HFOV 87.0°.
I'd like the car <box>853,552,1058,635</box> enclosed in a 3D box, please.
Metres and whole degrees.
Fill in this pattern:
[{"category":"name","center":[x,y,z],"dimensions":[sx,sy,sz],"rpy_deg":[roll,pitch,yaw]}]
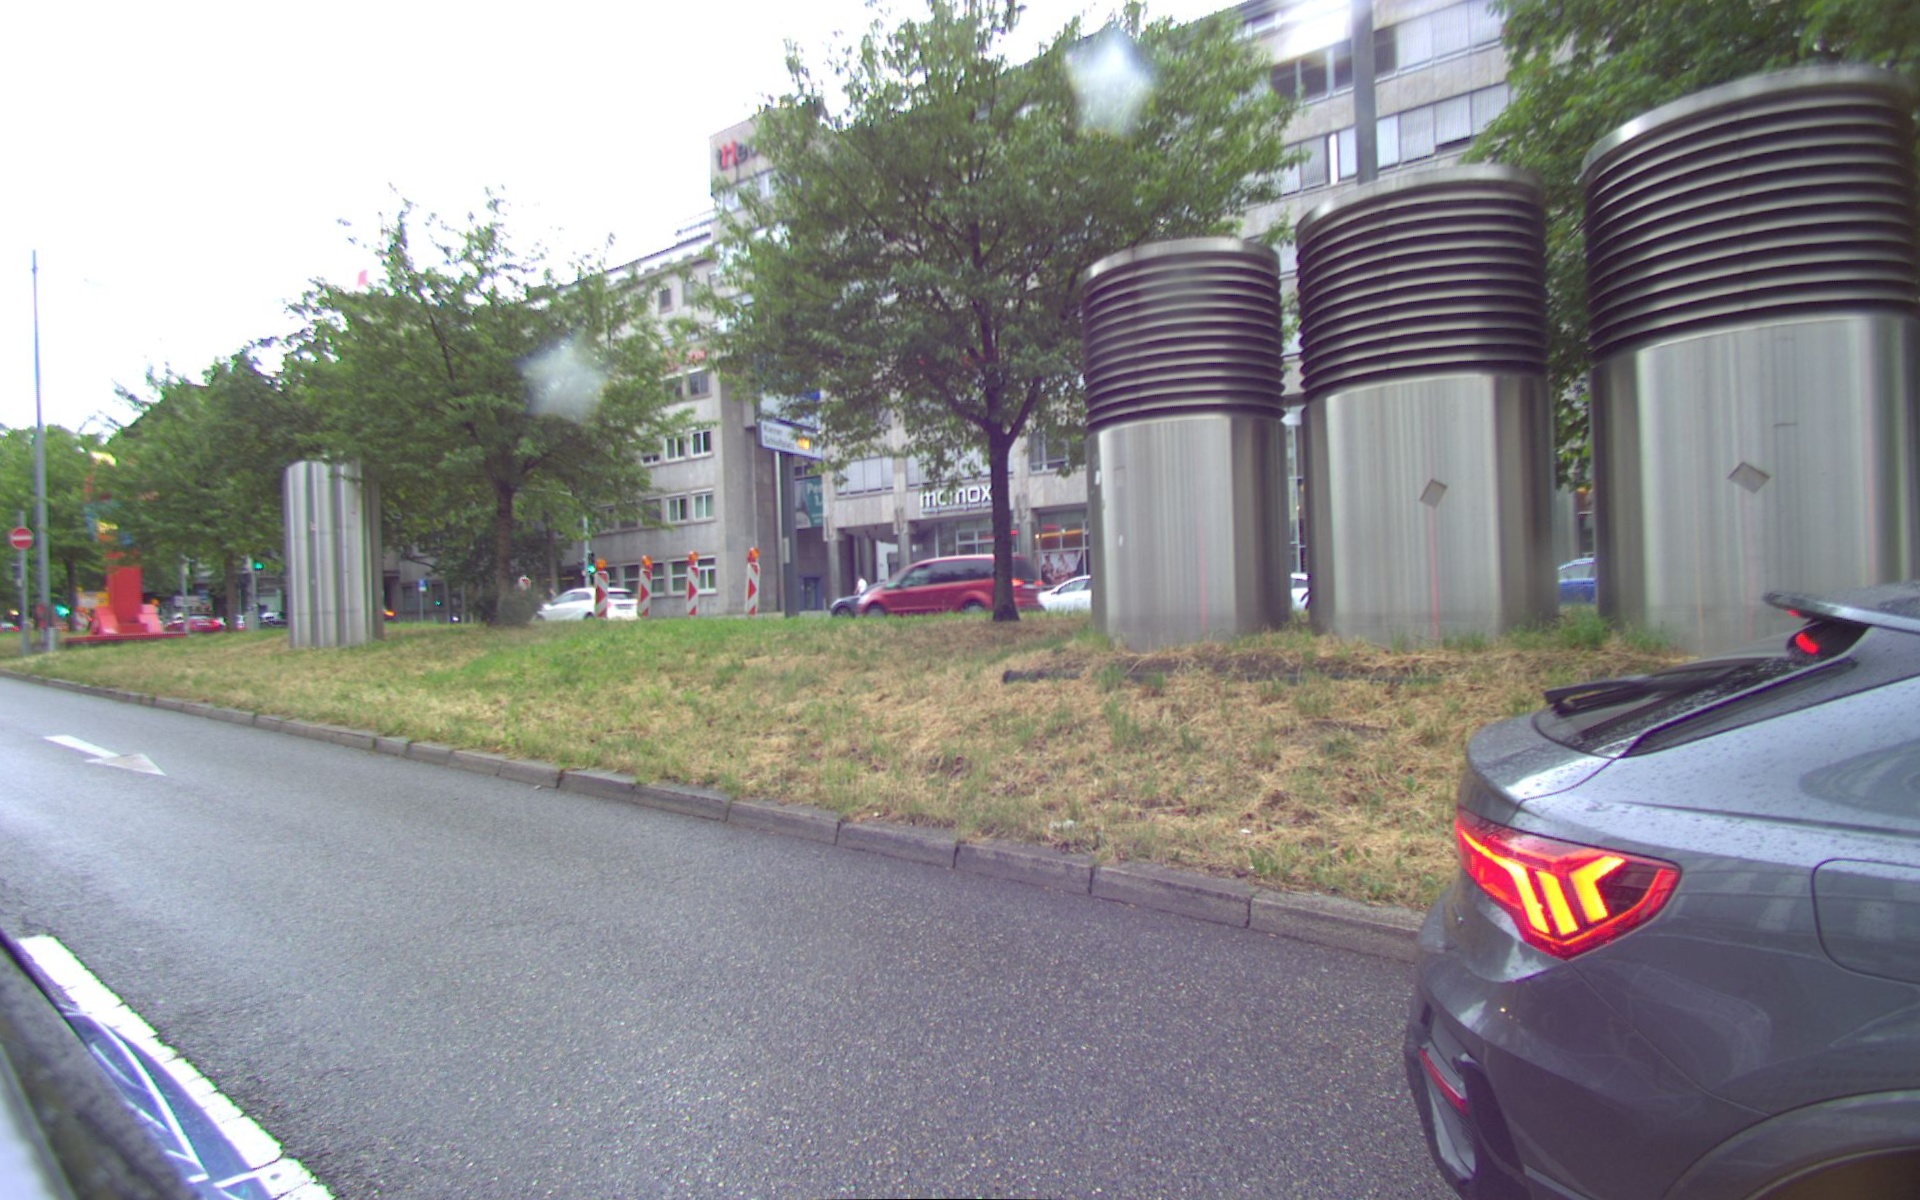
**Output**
[{"category":"car","center":[-0.158,-0.112,23.622],"dimensions":[4.568,1.740,1.711],"rpy_deg":[-2,0,33]}]

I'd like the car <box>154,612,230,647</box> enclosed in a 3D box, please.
[{"category":"car","center":[-40.948,1.570,53.944],"dimensions":[3.987,1.713,1.930],"rpy_deg":[-2,0,33]}]

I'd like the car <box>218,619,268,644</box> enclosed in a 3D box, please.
[{"category":"car","center":[-47.003,2.054,66.331],"dimensions":[3.687,1.514,1.670],"rpy_deg":[-2,-1,38]}]

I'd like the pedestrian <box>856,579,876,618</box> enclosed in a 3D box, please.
[{"category":"pedestrian","center":[-4.480,-0.075,48.273],"dimensions":[0.528,1.801,0.712],"rpy_deg":[-2,0,38]}]

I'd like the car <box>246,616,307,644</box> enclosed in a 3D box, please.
[{"category":"car","center":[-42.895,1.910,63.476],"dimensions":[4.461,1.634,1.844],"rpy_deg":[-2,-1,38]}]

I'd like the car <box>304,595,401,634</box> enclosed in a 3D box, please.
[{"category":"car","center":[-25.401,0.610,42.288],"dimensions":[3.987,1.486,1.853],"rpy_deg":[-2,0,33]}]

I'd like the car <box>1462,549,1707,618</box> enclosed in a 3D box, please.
[{"category":"car","center":[13.842,-0.332,22.620],"dimensions":[4.465,1.335,1.876],"rpy_deg":[-2,0,34]}]

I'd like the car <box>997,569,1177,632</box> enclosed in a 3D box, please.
[{"category":"car","center":[3.587,0.047,29.187],"dimensions":[4.905,1.634,1.759],"rpy_deg":[-2,-1,38]}]

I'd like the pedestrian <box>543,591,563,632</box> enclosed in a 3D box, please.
[{"category":"pedestrian","center":[-18.215,0.506,45.285],"dimensions":[0.721,1.801,0.522],"rpy_deg":[-2,0,42]}]

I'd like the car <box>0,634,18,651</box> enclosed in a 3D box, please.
[{"category":"car","center":[-88.281,3.933,93.075],"dimensions":[4.561,1.440,1.843],"rpy_deg":[-2,-1,40]}]

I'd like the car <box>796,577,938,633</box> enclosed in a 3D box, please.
[{"category":"car","center":[-3.205,0.204,34.203],"dimensions":[4.785,1.739,1.844],"rpy_deg":[-2,-1,38]}]

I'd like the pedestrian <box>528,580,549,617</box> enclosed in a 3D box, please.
[{"category":"pedestrian","center":[-18.998,-0.058,45.633],"dimensions":[0.619,1.641,0.599],"rpy_deg":[-2,0,41]}]

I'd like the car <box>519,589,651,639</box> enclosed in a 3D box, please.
[{"category":"car","center":[-12.084,0.460,32.574],"dimensions":[4.180,1.486,1.805],"rpy_deg":[-2,0,33]}]

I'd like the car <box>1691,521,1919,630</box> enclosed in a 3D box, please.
[{"category":"car","center":[13.416,-0.379,15.020],"dimensions":[3.986,1.497,1.792],"rpy_deg":[-2,2,31]}]

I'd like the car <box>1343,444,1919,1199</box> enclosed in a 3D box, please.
[{"category":"car","center":[2.846,0.562,0.987],"dimensions":[4.246,1.628,1.831],"rpy_deg":[-2,0,38]}]

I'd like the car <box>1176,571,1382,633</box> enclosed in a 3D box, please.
[{"category":"car","center":[8.055,0.090,25.794],"dimensions":[4.677,1.412,1.759],"rpy_deg":[-2,-1,38]}]

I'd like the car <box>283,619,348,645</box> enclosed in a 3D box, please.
[{"category":"car","center":[-38.578,1.920,60.554],"dimensions":[4.559,1.440,1.844],"rpy_deg":[-2,-1,38]}]

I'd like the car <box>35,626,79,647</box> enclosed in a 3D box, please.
[{"category":"car","center":[-68.383,2.762,76.618],"dimensions":[4.127,1.440,1.843],"rpy_deg":[-2,-1,39]}]
